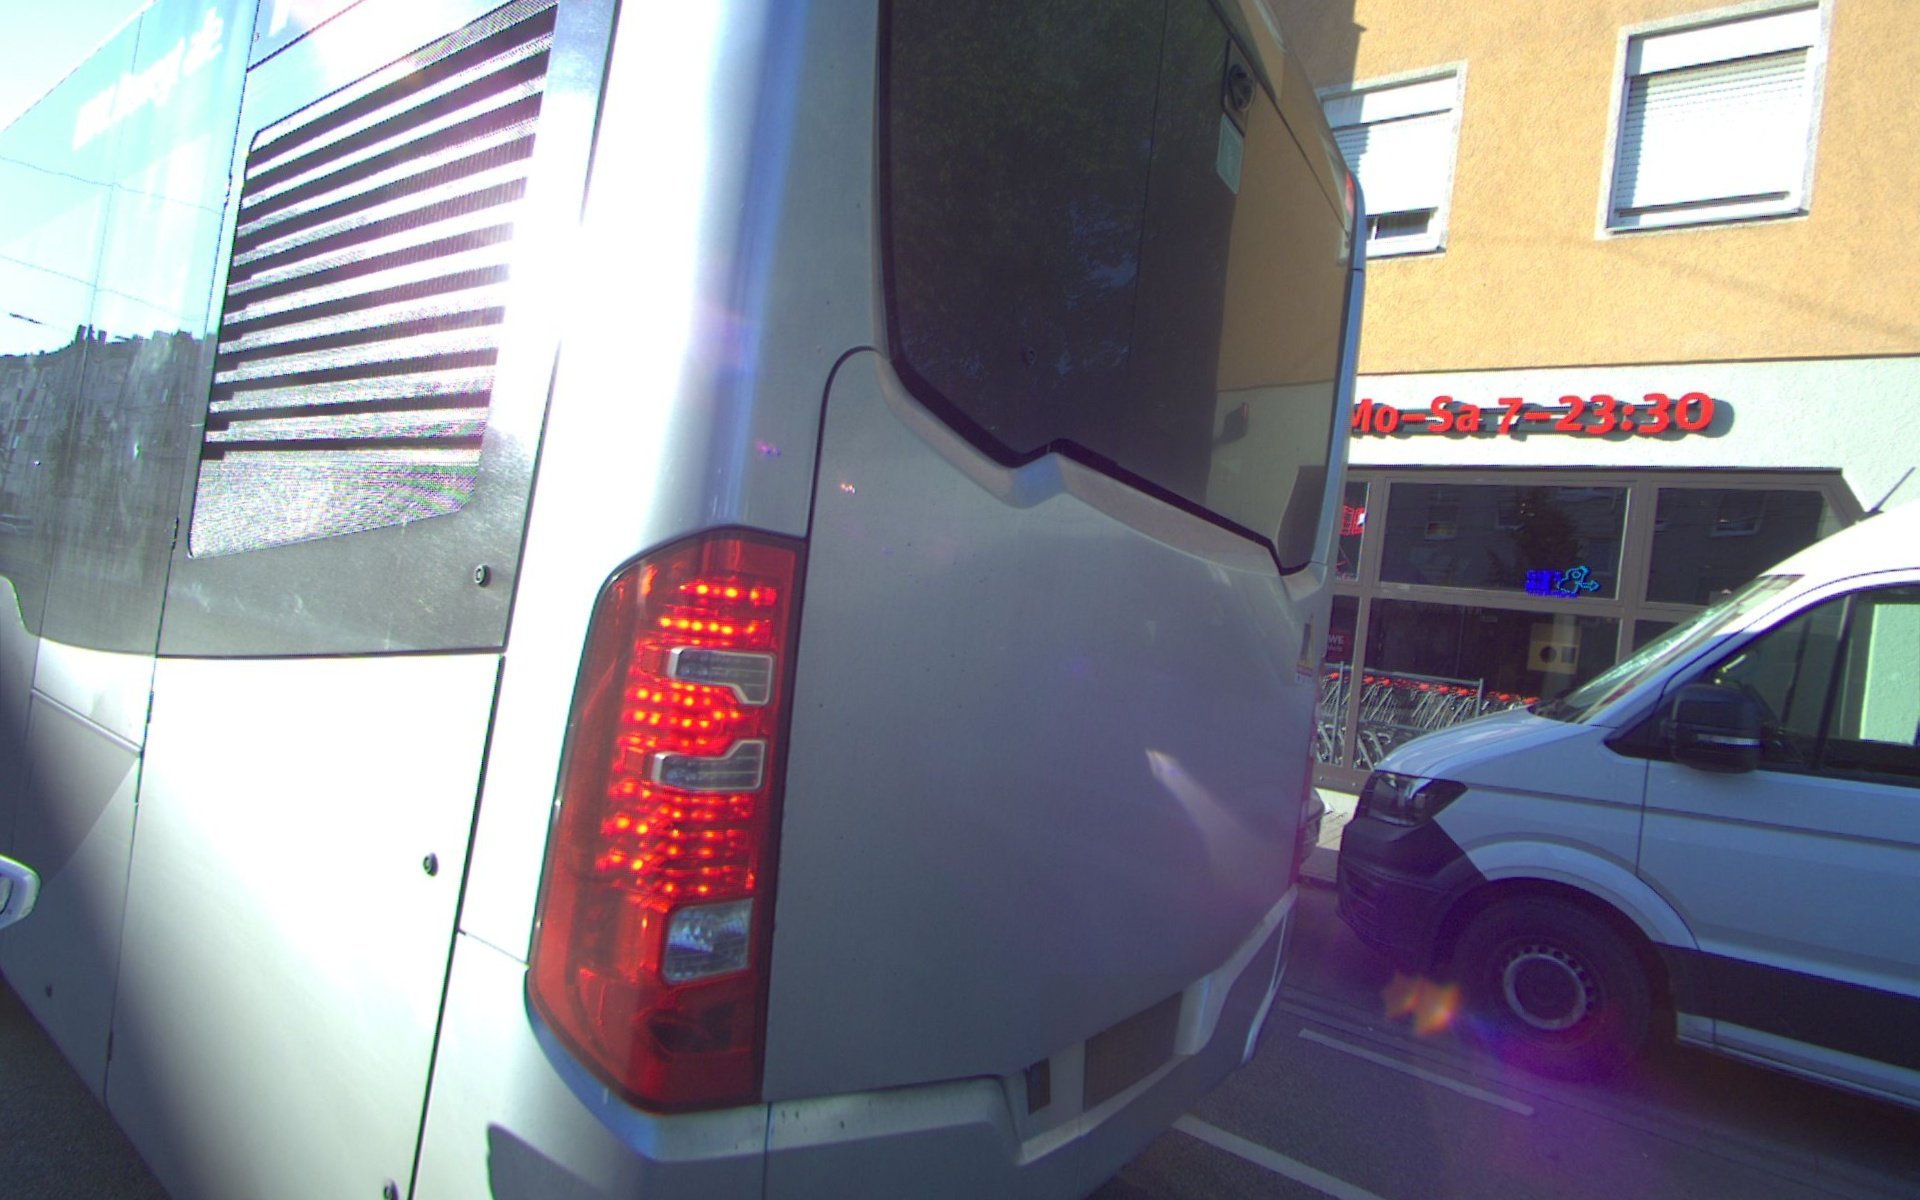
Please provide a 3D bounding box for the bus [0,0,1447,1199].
[{"bbox_3d":[-2.945,-0.310,4.599,8.718,3.091,2.740,6,-2,37],"label":"bus"}]

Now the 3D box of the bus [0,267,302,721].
[{"bbox_3d":[-10.022,-1.059,9.914,8.991,3.091,2.740,6,-2,37],"label":"bus"}]

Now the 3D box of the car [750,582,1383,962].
[{"bbox_3d":[0.598,0.898,6.804,3.728,1.607,1.838,6,0,37],"label":"car"}]

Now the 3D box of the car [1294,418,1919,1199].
[{"bbox_3d":[4.478,0.790,3.626,5.696,2.586,2.014,6,3,37],"label":"car"}]
